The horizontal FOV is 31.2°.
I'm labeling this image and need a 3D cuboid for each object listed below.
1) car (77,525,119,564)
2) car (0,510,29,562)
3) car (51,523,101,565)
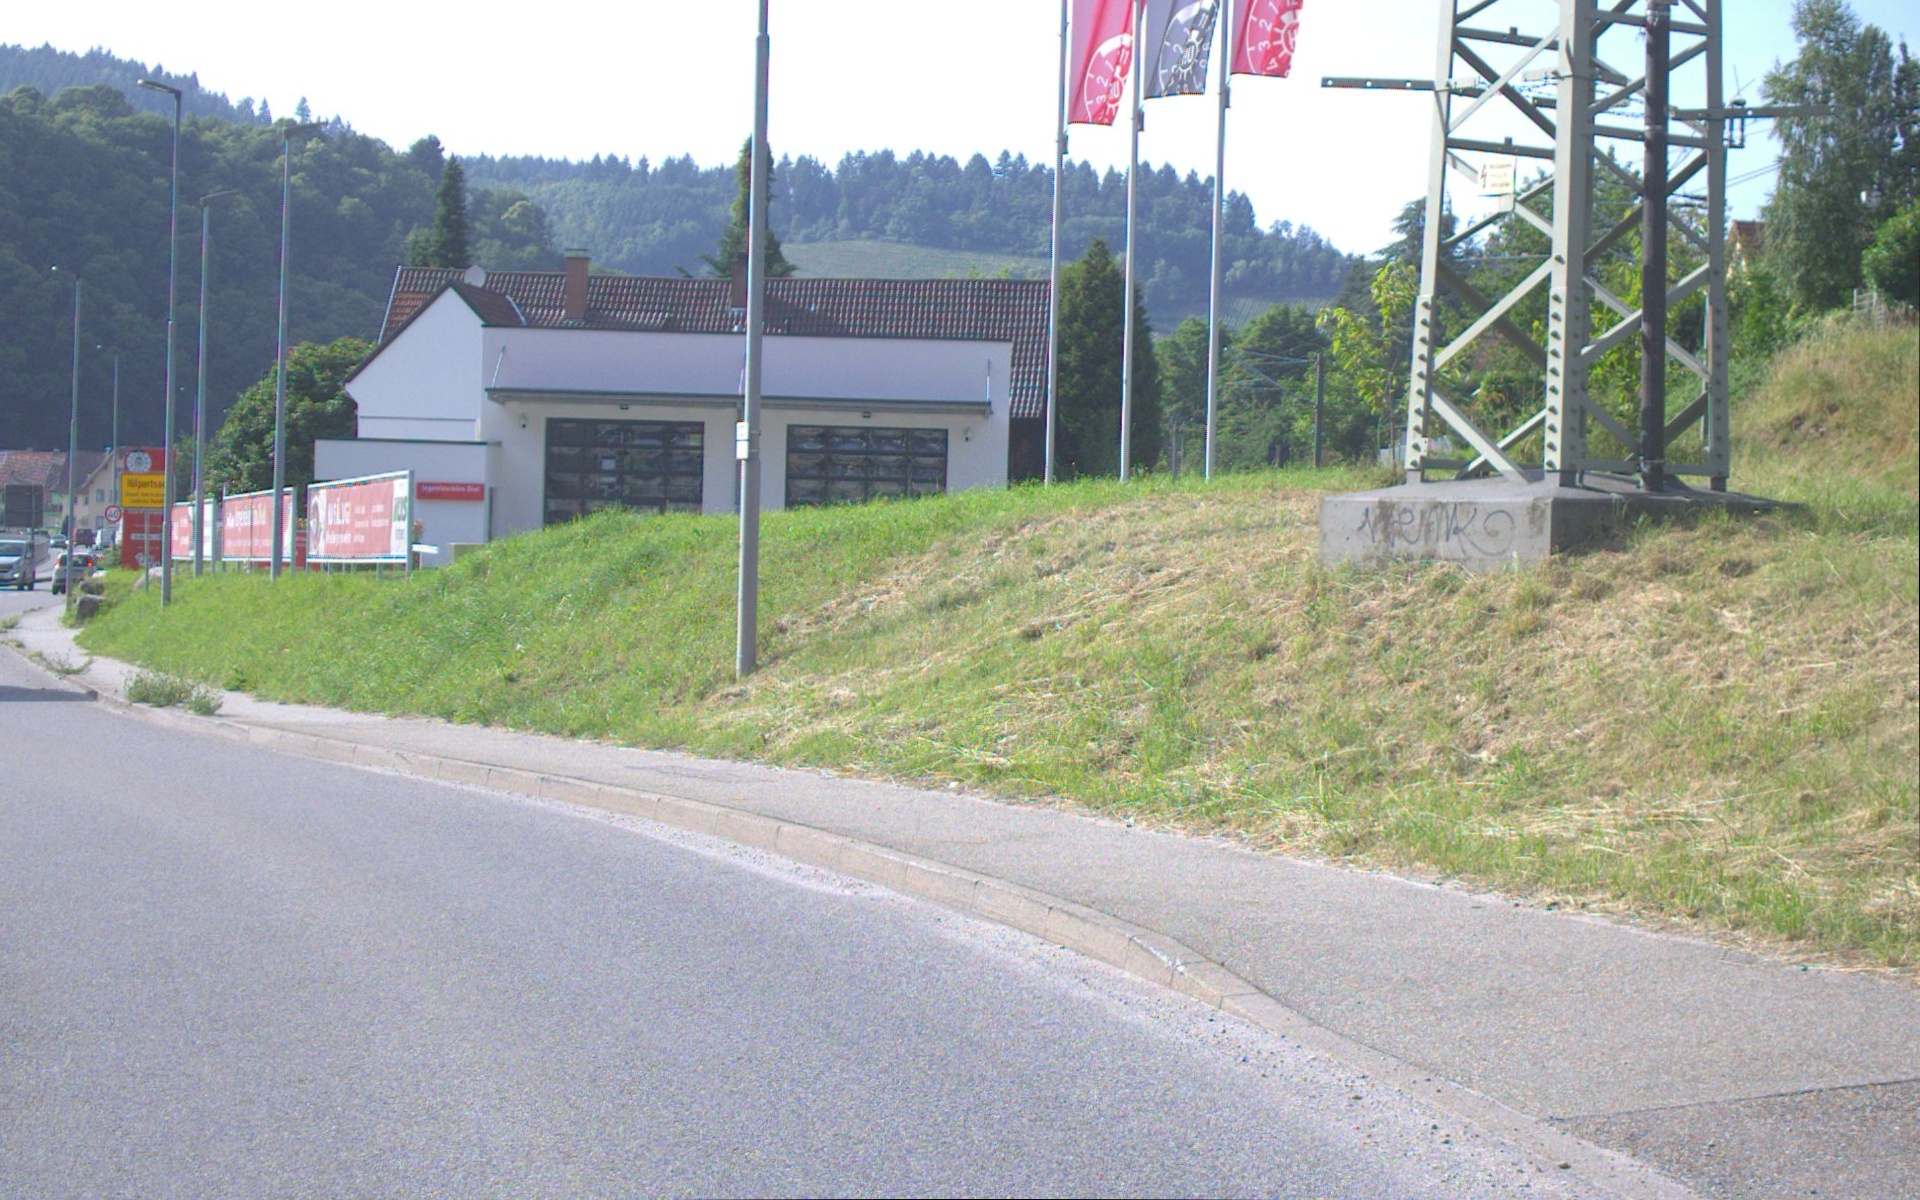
[{"bbox_3d":[-34.307,-2.227,136.811,1.356,1.430,2.839,2,2,-10],"label":"car"},{"bbox_3d":[-37.719,-2.511,135.047,1.919,1.961,5.147,1,0,-12],"label":"car"},{"bbox_3d":[-32.818,-2.084,127.660,1.453,1.430,2.937,2,2,-9],"label":"car"}]
